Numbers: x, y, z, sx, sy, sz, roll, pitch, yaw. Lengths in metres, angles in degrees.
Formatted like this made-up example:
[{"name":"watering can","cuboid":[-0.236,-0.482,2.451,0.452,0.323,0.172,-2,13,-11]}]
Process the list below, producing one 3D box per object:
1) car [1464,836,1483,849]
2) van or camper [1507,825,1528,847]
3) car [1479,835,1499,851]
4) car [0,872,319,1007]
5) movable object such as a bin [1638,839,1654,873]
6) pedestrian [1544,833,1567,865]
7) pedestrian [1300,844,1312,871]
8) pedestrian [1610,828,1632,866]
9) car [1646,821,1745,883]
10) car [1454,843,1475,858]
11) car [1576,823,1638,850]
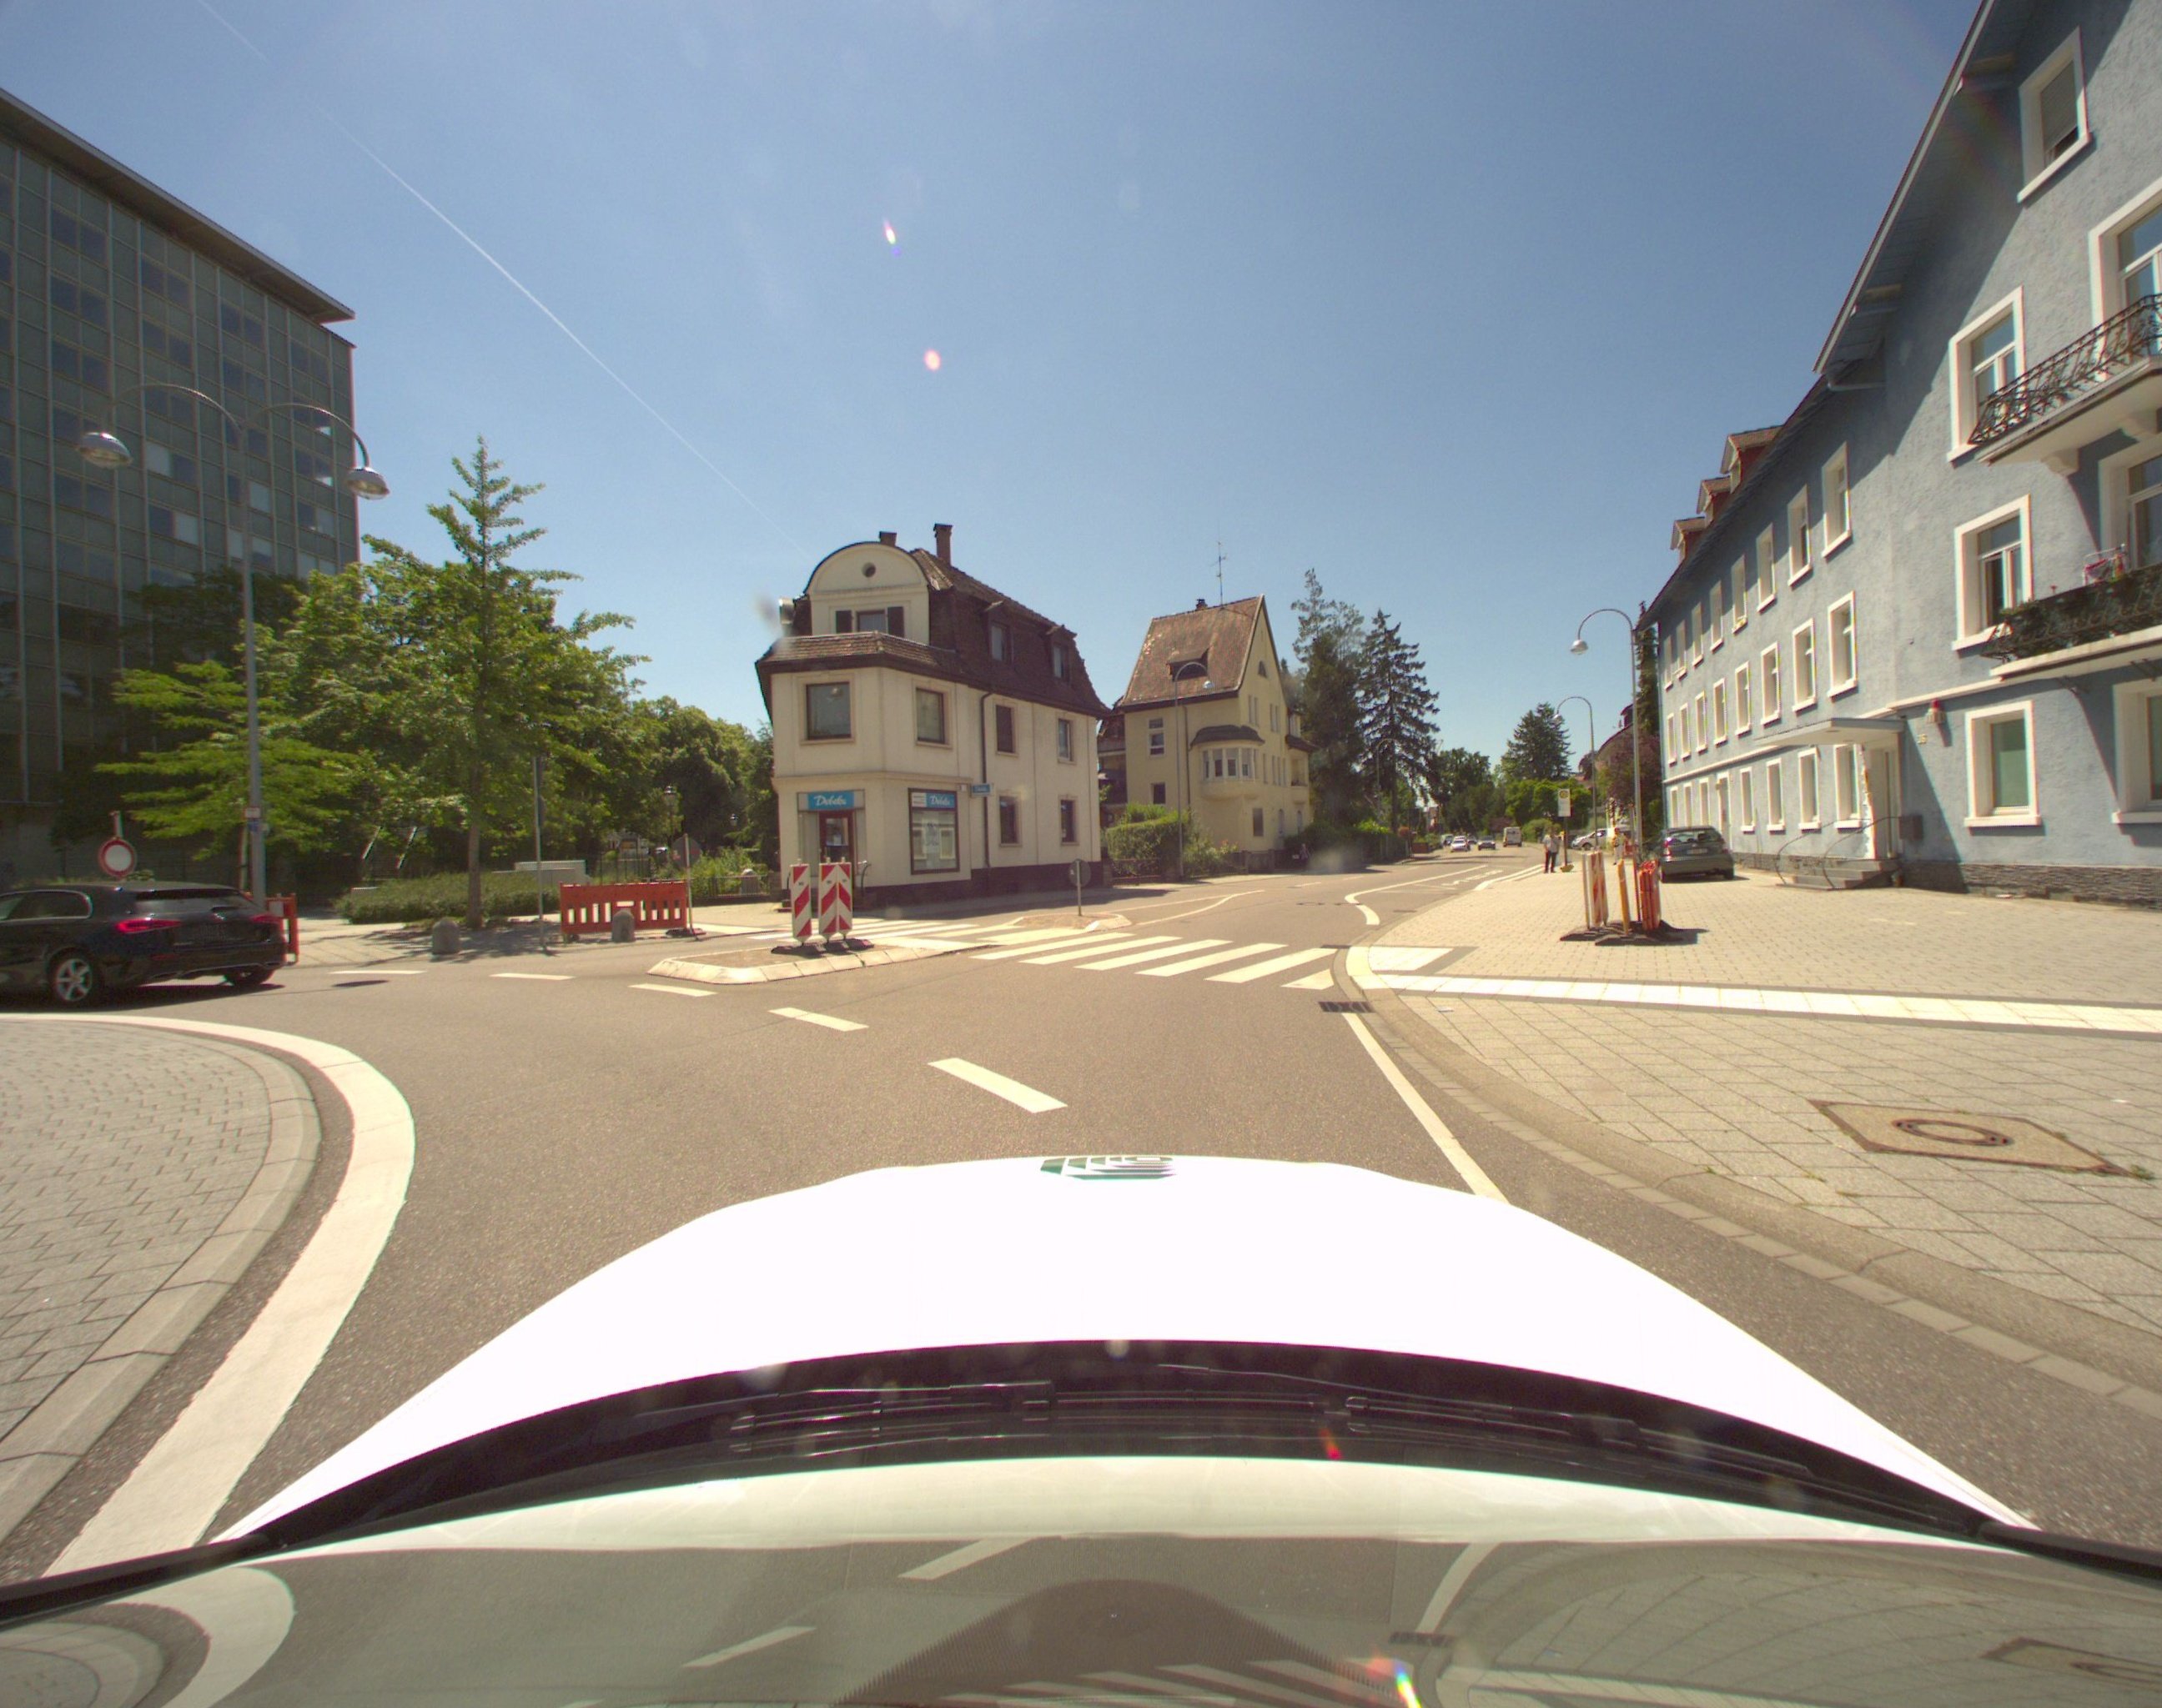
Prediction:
[{"name":"car","cuboid":[66.164,-1.967,137.383,1.979,2.013,4.015,-2,0,14]},{"name":"van or camper","cuboid":[56.189,-2.301,104.930,2.185,2.610,4.024,-2,0,27]},{"name":"car","cuboid":[47.145,-1.269,94.094,1.975,1.717,4.025,-2,0,28]},{"name":"car","cuboid":[-12.335,1.014,10.209,3.964,1.427,1.964,-1,0,8]},{"name":"movable object such as a bin","cuboid":[19.031,0.059,27.426,0.280,1.123,1.193,-4,-2,39]},{"name":"pedestrian","cuboid":[19.793,-0.212,33.984,0.660,1.286,0.591,-6,-2,36]},{"name":"pedestrian","cuboid":[12.514,0.182,45.284,0.518,1.509,0.476,-2,0,34]},{"name":"pedestrian","cuboid":[24.014,-0.308,36.228,0.660,1.594,0.591,-6,-2,36]},{"name":"car","cuboid":[17.346,-0.103,23.137,1.624,1.507,3.586,-5,-1,28]},{"name":"car","cuboid":[43.806,-0.415,92.881,1.975,1.651,4.024,-2,0,27]},{"name":"car","cuboid":[43.281,-1.413,67.049,3.952,2.013,2.011,-1,0,22]}]
